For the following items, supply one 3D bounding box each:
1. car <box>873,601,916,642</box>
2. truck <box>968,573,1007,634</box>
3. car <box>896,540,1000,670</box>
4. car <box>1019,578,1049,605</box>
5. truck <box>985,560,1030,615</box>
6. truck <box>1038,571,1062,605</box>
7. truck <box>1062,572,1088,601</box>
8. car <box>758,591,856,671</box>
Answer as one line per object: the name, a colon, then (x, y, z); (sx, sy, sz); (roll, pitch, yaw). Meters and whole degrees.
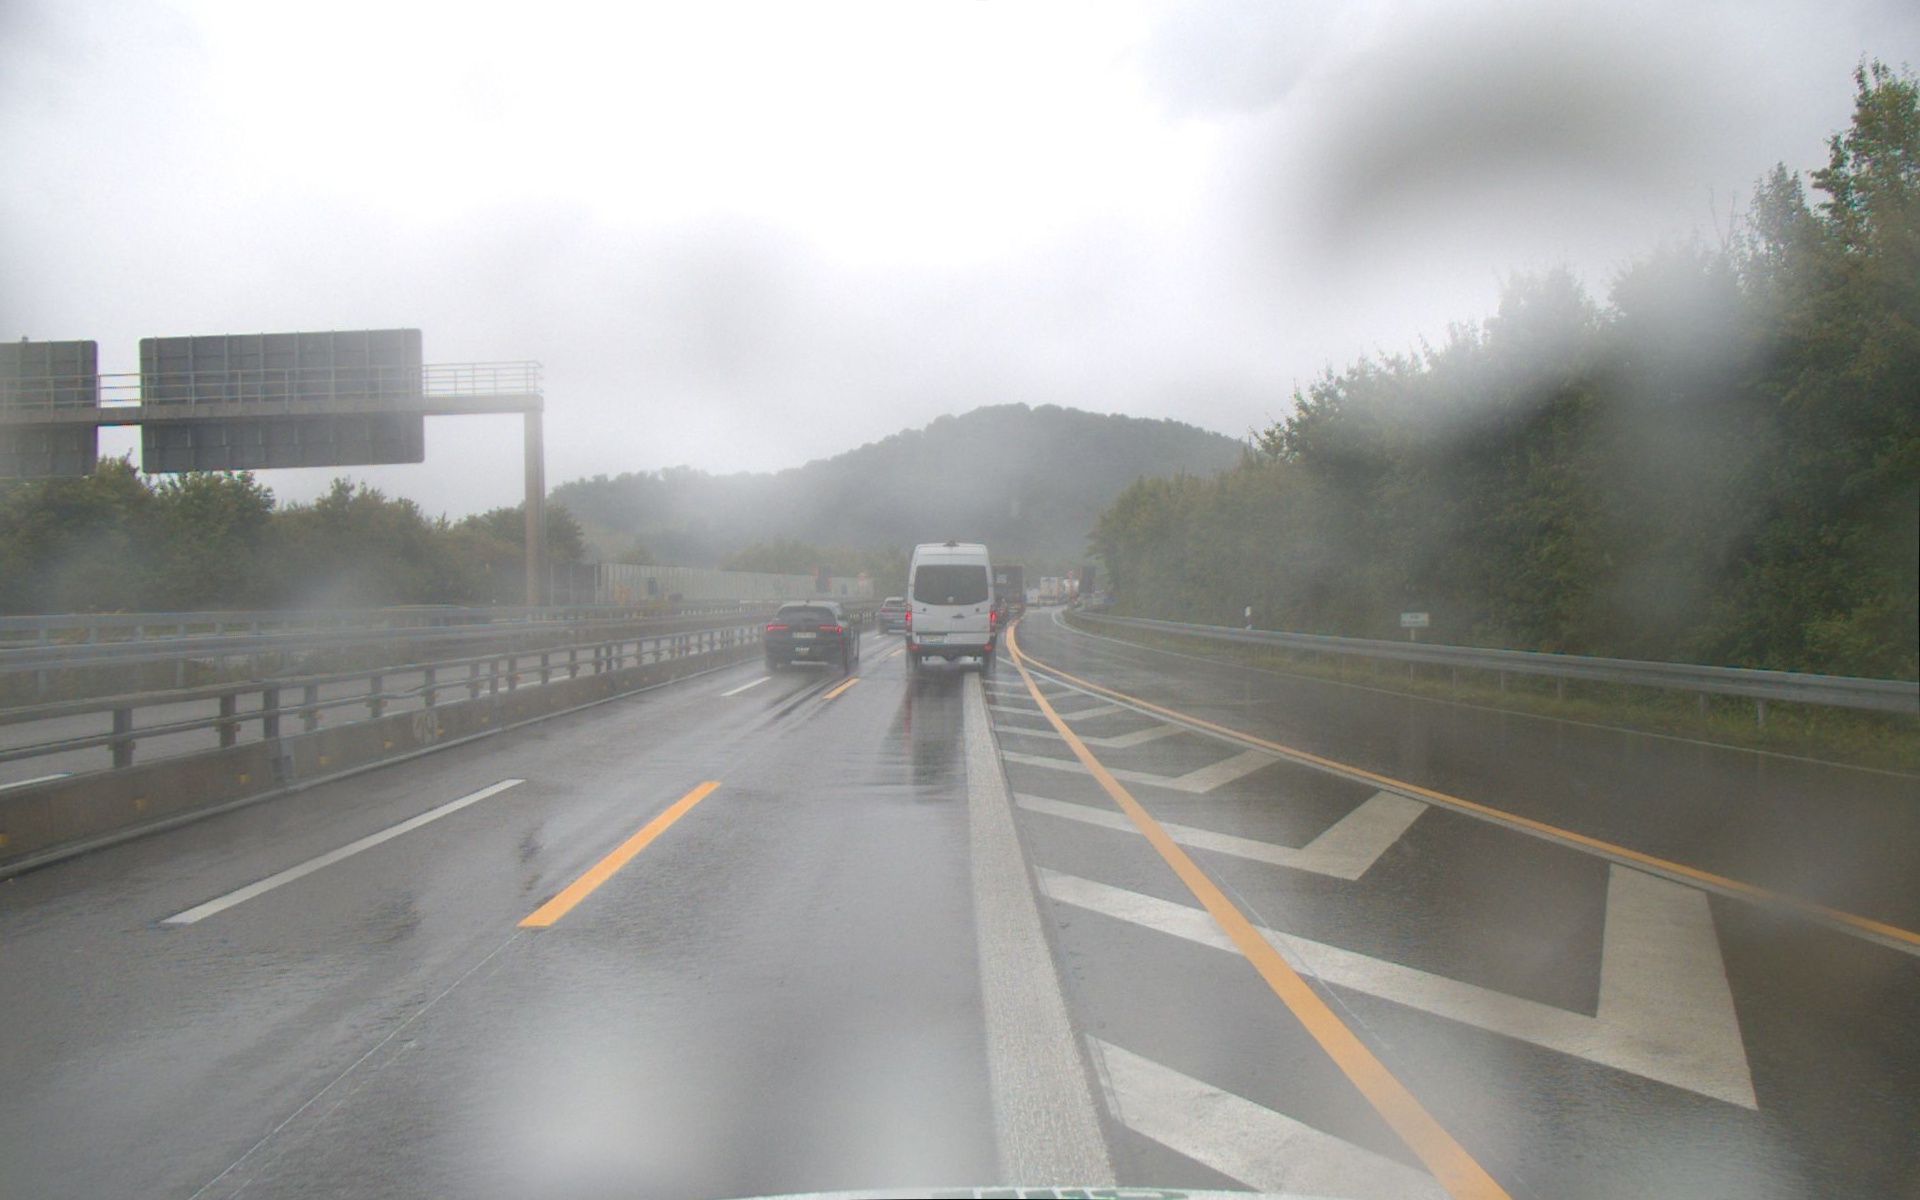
car: (-2.737, 0.896, 69.651); (1.672, 1.656, 3.999); (1, 0, -1)
truck: (1.564, 0.188, 91.206); (1.952, 3.163, 8.501); (1, 0, 2)
car: (-0.215, 0.108, 36.574); (2.101, 2.616, 5.390); (1, 0, 1)
car: (8.408, -0.963, 188.109); (2.837, 2.938, 6.416); (1, 0, 7)
truck: (4.145, -1.054, 141.647); (3.506, 4.483, 9.627); (1, 0, 3)
truck: (12.432, -1.587, 227.807); (2.972, 4.483, 9.630); (1, 0, 5)
truck: (18.295, -2.059, 262.698); (2.836, 4.483, 9.632); (1, 0, 11)
car: (-3.217, 0.621, 35.381); (1.908, 1.588, 3.997); (1, 0, -3)
